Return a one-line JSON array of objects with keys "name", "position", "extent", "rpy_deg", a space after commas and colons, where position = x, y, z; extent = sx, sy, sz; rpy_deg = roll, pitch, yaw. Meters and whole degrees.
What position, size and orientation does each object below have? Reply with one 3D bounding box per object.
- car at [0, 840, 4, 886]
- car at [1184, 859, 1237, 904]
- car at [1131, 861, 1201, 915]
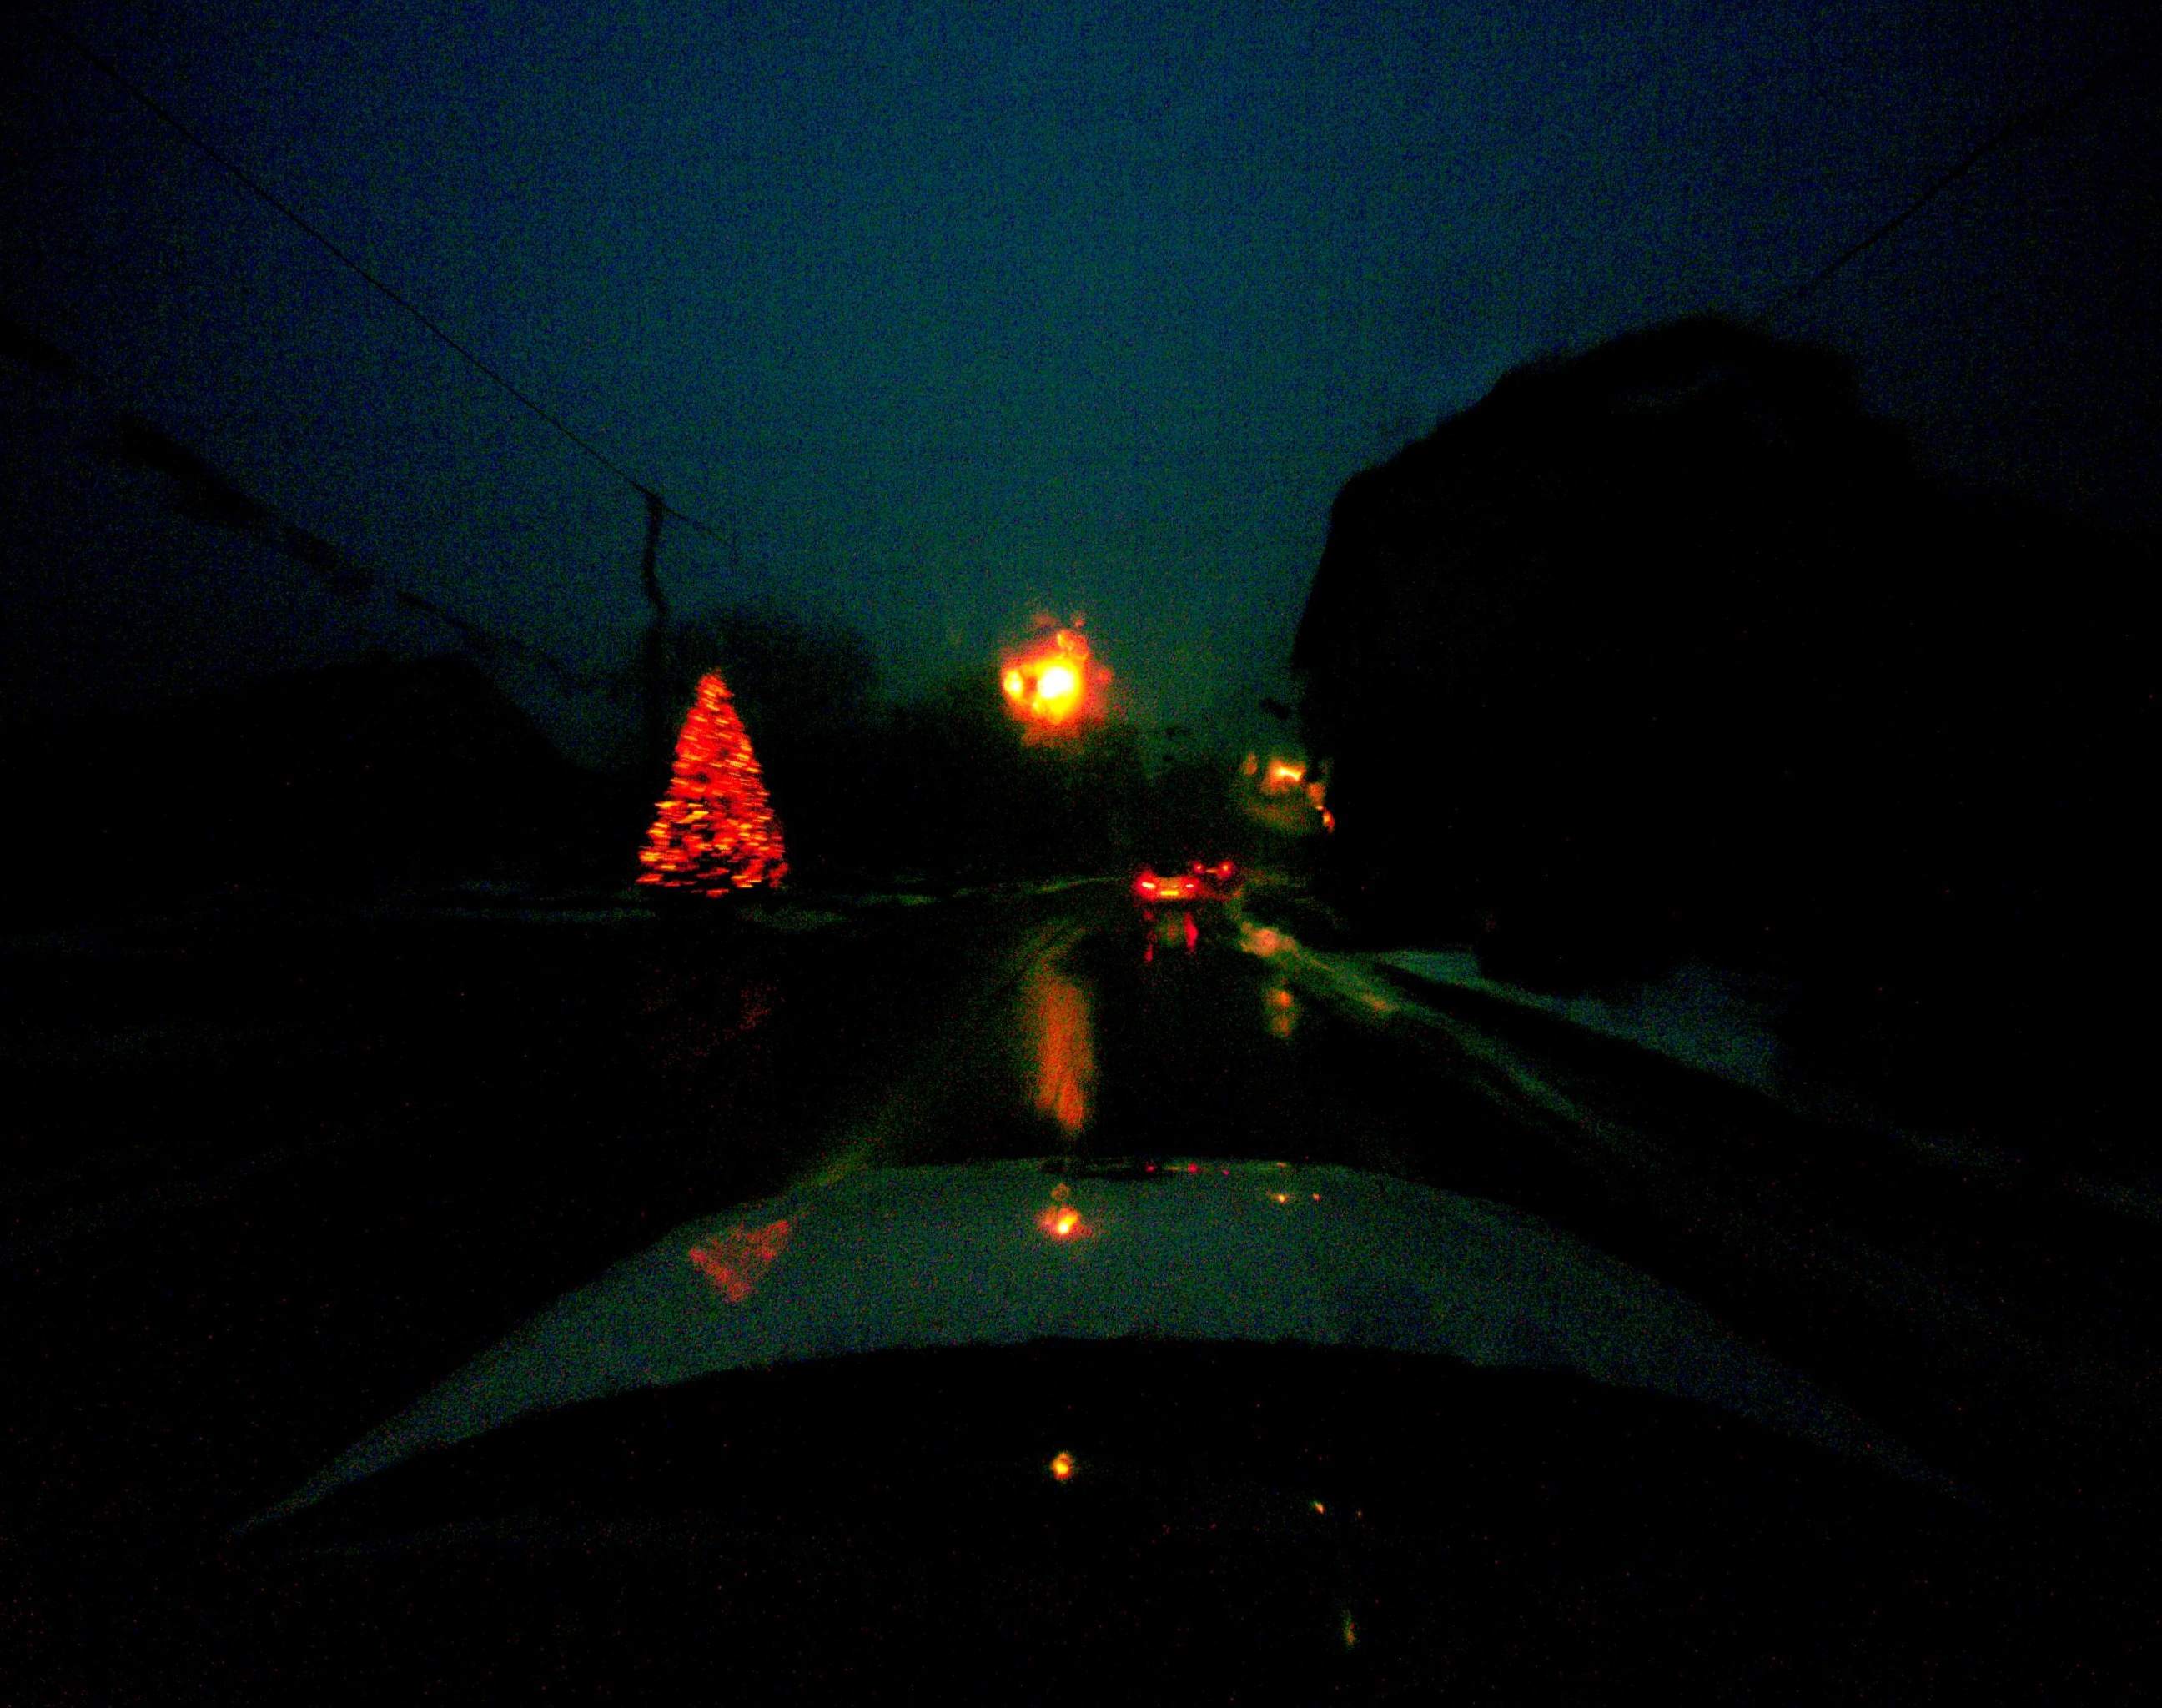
[{"name": "car", "position": [-13.609, 0.650, 8.012], "extent": [3.795, 1.791, 1.917], "rpy_deg": [2, -2, 8]}, {"name": "car", "position": [6.403, 1.378, 39.850], "extent": [1.978, 2.014, 4.016], "rpy_deg": [2, -3, 16]}, {"name": "car", "position": [2.758, 1.094, 26.041], "extent": [1.983, 1.508, 4.007], "rpy_deg": [3, -3, 7]}]
